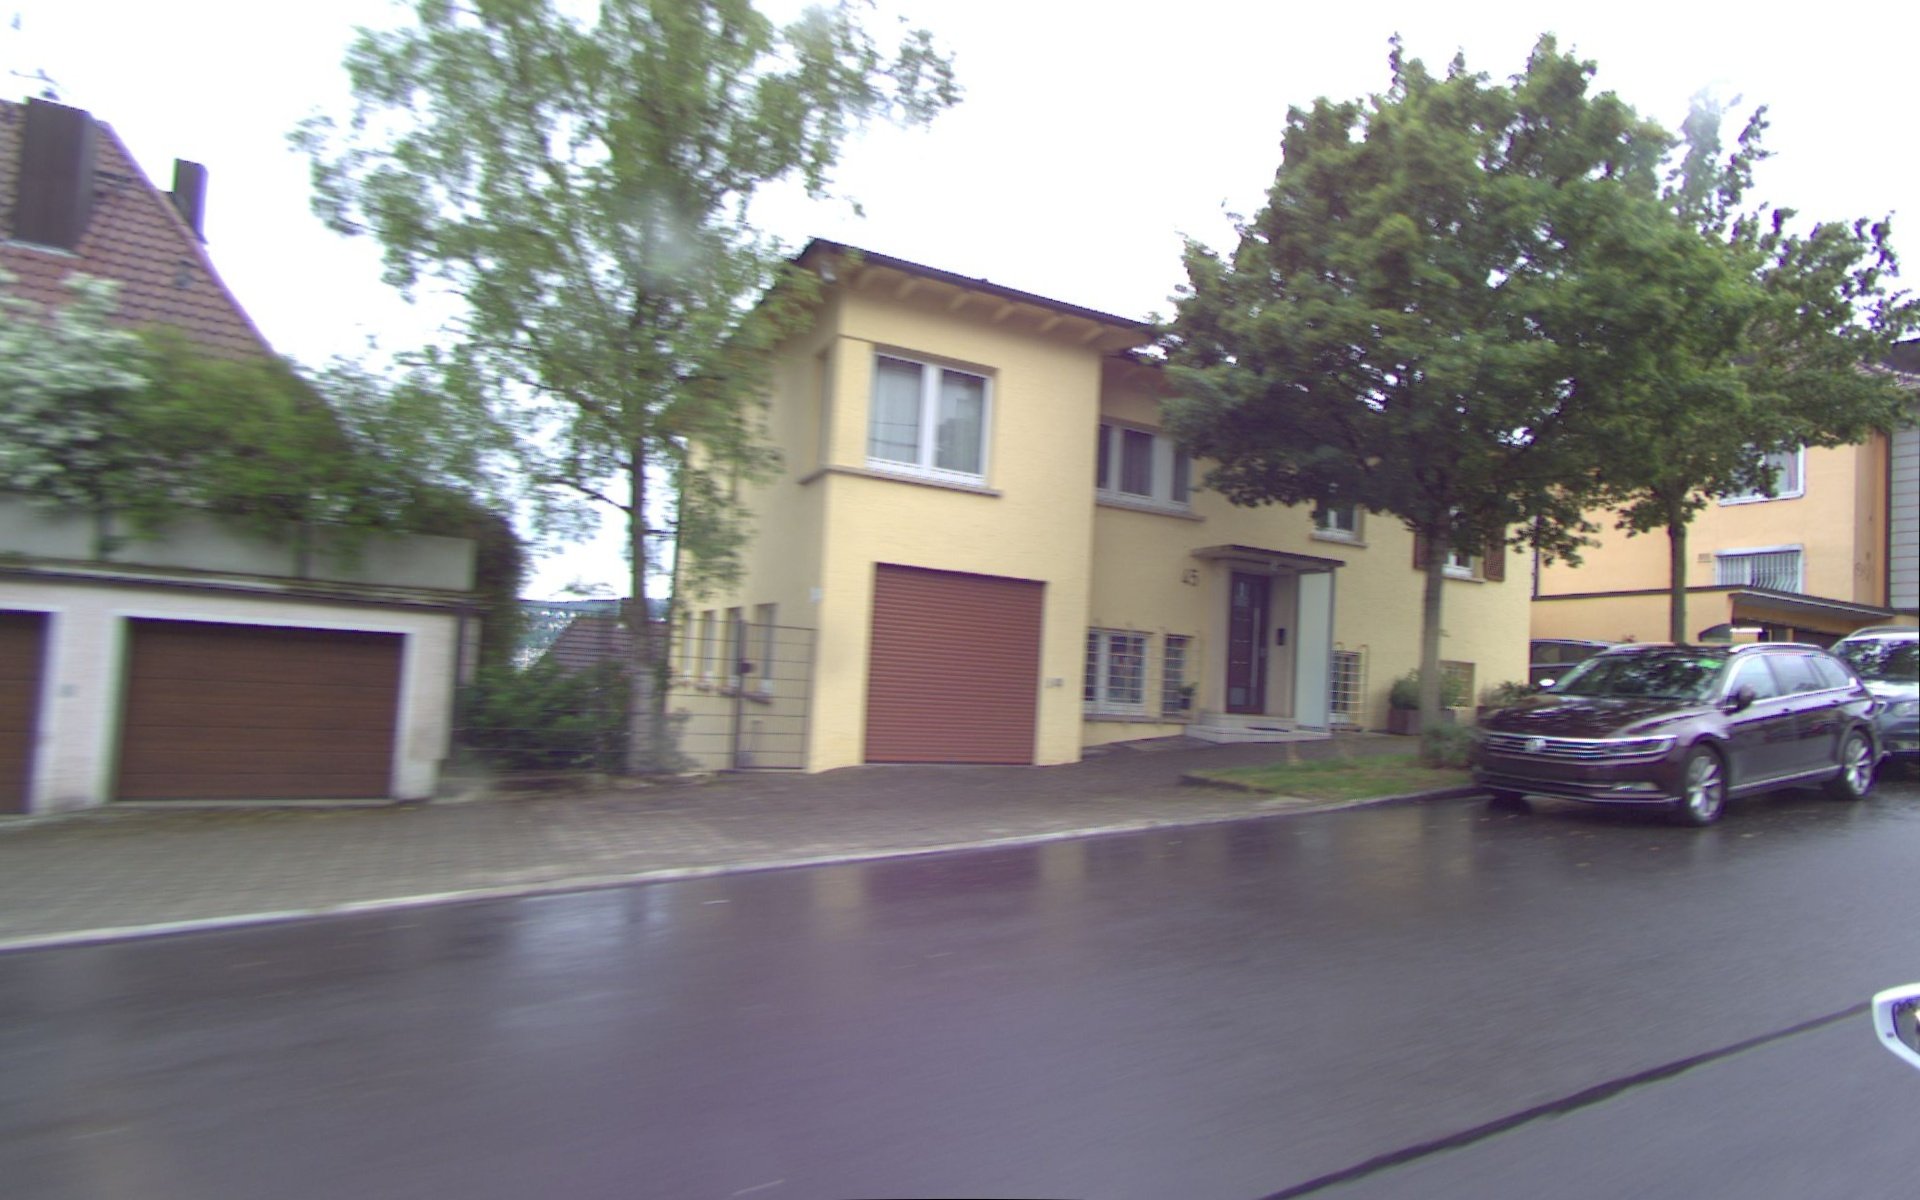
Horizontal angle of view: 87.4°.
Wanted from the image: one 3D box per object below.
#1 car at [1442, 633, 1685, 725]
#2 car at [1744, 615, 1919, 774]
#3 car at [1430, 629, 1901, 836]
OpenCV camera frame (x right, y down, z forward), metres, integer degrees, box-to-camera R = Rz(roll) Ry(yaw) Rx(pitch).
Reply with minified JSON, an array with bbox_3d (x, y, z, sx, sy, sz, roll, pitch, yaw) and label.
[{"bbox_3d":[12.432,1.564,20.966,1.838,1.668,4.042,2,-2,-25],"label":"car"},{"bbox_3d":[11.539,1.076,11.977,4.054,1.655,1.764,1,-5,-25],"label":"car"},{"bbox_3d":[6.691,1.084,9.436,4.548,1.555,1.761,1,-3,-28],"label":"car"}]
